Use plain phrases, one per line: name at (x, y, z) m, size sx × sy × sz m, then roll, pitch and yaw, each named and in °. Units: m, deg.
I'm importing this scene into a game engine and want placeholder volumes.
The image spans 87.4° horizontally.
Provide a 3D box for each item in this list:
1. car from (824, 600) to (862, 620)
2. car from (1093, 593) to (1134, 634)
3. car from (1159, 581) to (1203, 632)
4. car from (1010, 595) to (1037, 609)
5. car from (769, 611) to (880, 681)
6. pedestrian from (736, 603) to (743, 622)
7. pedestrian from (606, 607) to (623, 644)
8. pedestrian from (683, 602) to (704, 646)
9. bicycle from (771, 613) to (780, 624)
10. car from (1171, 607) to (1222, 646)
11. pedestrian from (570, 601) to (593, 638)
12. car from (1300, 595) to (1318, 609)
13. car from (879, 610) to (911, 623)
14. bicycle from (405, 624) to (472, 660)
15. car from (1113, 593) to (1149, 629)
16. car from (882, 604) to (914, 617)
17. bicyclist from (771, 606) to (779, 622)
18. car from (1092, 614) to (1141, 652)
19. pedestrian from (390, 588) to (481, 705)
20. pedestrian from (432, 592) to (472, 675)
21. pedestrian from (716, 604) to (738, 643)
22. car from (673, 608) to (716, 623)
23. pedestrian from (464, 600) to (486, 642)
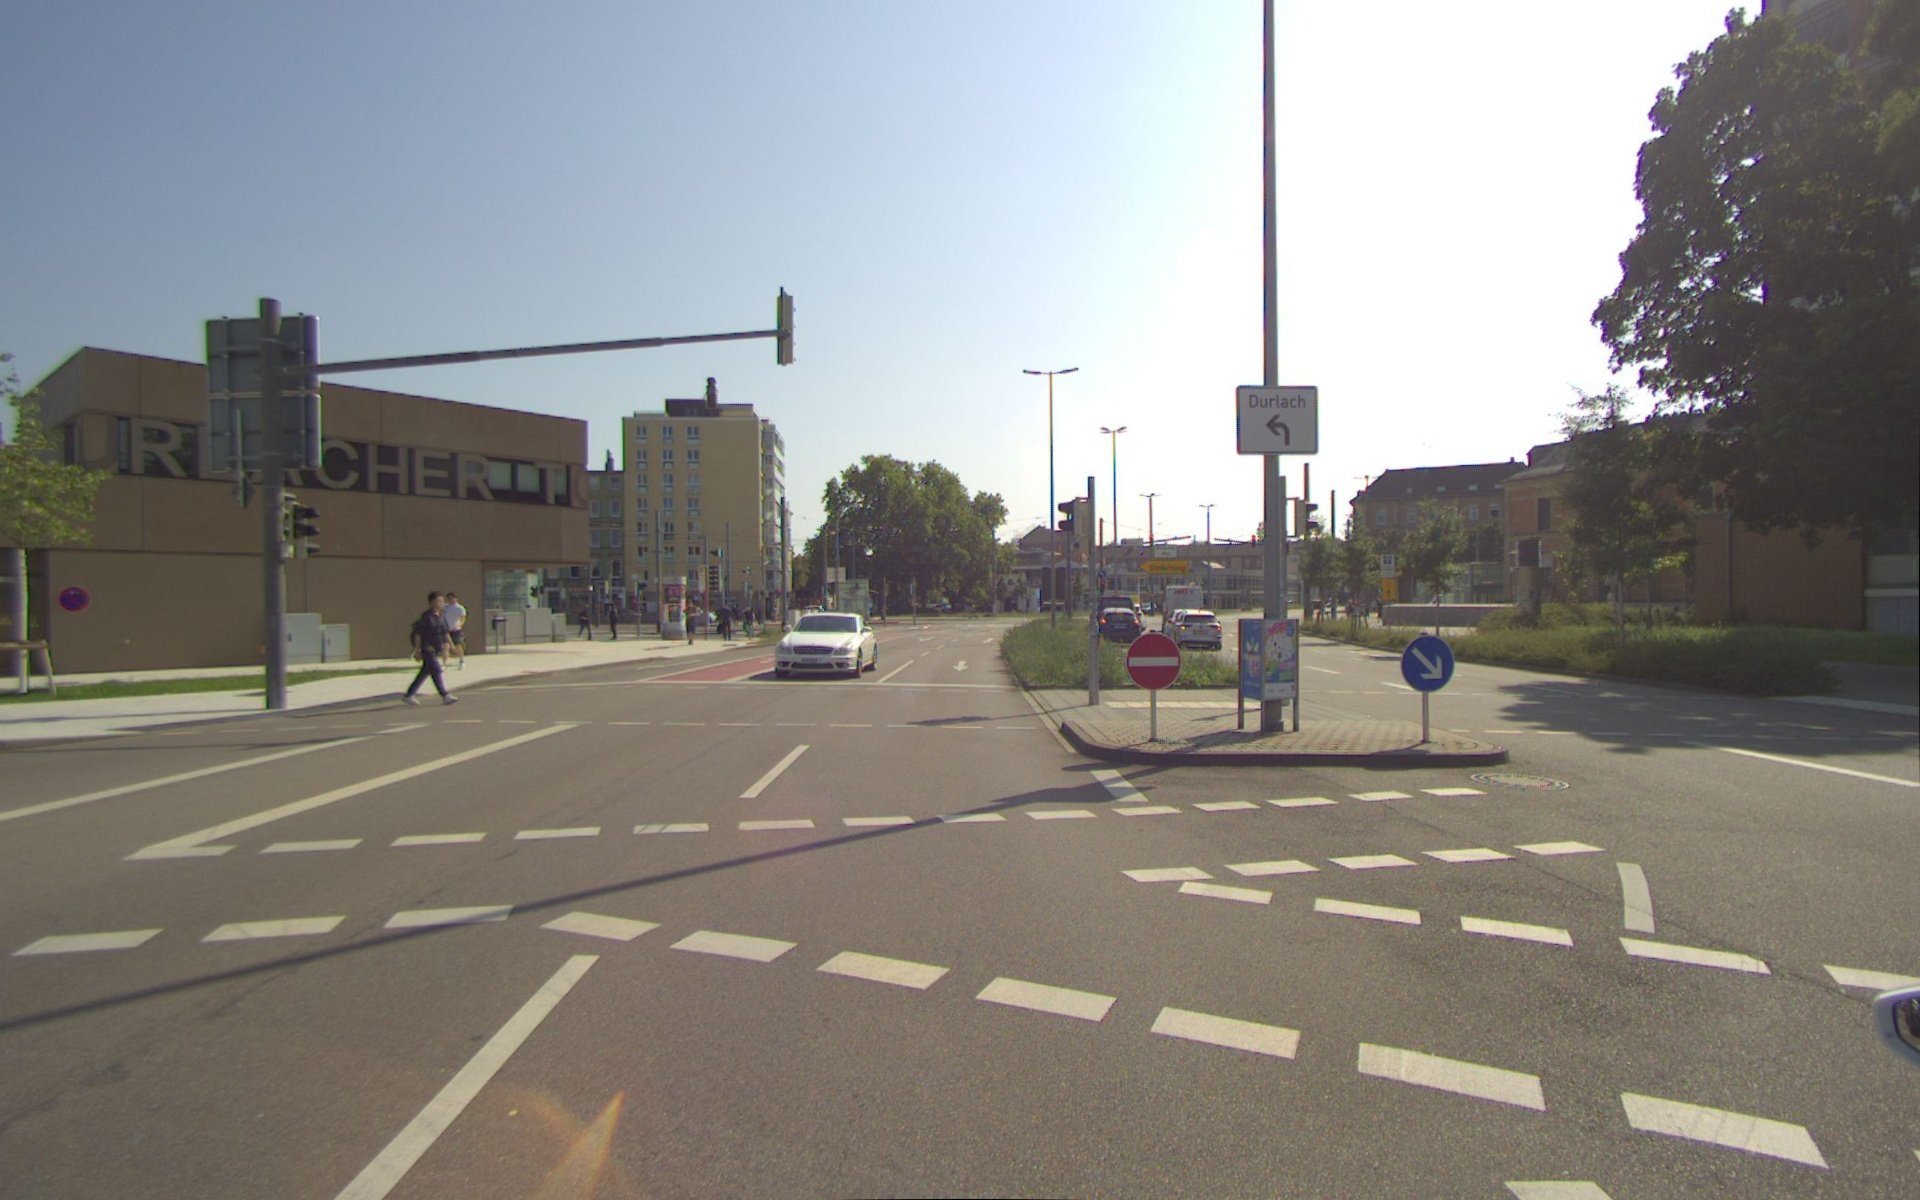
car at (-12.660, 1.049, 108.670) m, size 3.923 × 2.040 × 1.999 m, roll -1°, pitch 0°, yaw -4°
car at (8.062, 0.692, 52.485) m, size 1.989 × 2.034 × 4.686 m, roll 0°, pitch 0°, yaw 10°
car at (11.696, 0.376, 53.339) m, size 2.151 × 2.583 × 4.687 m, roll 0°, pitch -1°, yaw 11°
car at (9.466, 0.286, 150.072) m, size 3.919 × 2.041 × 2.001 m, roll 0°, pitch 2°, yaw 7°
car at (-2.980, 0.971, 23.117) m, size 1.811 × 1.380 × 4.820 m, roll 1°, pitch 0°, yaw 1°
pedestrian at (-19.620, 1.093, 89.486) m, size 0.447 × 1.708 × 0.547 m, roll 0°, pitch 2°, yaw 8°
pedestrian at (-15.196, 1.100, 44.160) m, size 0.489 × 1.601 × 0.508 m, roll 0°, pitch 2°, yaw 11°
pedestrian at (-10.997, 0.974, 41.448) m, size 0.669 × 1.783 × 0.873 m, roll 0°, pitch 0°, yaw -25°
bicycle at (-16.736, 1.636, 90.935) m, size 0.716 × 0.997 × 1.729 m, roll 0°, pitch 0°, yaw -8°
car at (8.909, 0.990, 38.064) m, size 1.656 × 1.406 × 3.637 m, roll 0°, pitch -1°, yaw 9°
pedestrian at (-19.872, 1.009, 52.778) m, size 0.874 × 1.844 × 0.886 m, roll -2°, pitch 3°, yaw -38°
car at (54.129, 0.344, 155.706) m, size 2.374 × 2.040 × 4.775 m, roll -1°, pitch 0°, yaw 24°
car at (-8.194, 2.092, 126.997) m, size 3.921 × 1.639 × 1.813 m, roll 0°, pitch 0°, yaw 0°
bicycle at (-15.080, 1.207, 29.086) m, size 0.651 × 0.969 × 1.606 m, roll 2°, pitch 1°, yaw 38°
car at (10.224, 0.663, 60.176) m, size 1.989 × 2.034 × 4.686 m, roll 0°, pitch 0°, yaw 9°
car at (-7.993, 1.385, 129.834) m, size 3.921 × 1.639 × 1.813 m, roll 0°, pitch 0°, yaw 0°
bicyclist at (-16.731, 1.233, 90.927) m, size 0.714 × 1.453 × 0.689 m, roll 0°, pitch 0°, yaw -8°
car at (6.060, 1.248, 39.233) m, size 1.672 × 1.386 × 3.966 m, roll 0°, pitch -1°, yaw 6°
pedestrian at (-8.505, 0.741, 16.320) m, size 1.061 × 1.864 × 0.730 m, roll -1°, pitch 0°, yaw 4°
pedestrian at (-11.559, 0.744, 22.864) m, size 0.683 × 1.857 × 0.569 m, roll 0°, pitch 0°, yaw -13°
pedestrian at (-11.174, 1.123, 48.216) m, size 0.864 × 1.802 × 0.843 m, roll -1°, pitch 3°, yaw -23°
car at (-25.372, 1.492, 96.074) m, size 3.677 × 1.412 × 1.586 m, roll 0°, pitch 0°, yaw -4°
pedestrian at (-20.299, 0.883, 42.018) m, size 0.524 × 1.719 × 0.606 m, roll 1°, pitch 3°, yaw 30°
